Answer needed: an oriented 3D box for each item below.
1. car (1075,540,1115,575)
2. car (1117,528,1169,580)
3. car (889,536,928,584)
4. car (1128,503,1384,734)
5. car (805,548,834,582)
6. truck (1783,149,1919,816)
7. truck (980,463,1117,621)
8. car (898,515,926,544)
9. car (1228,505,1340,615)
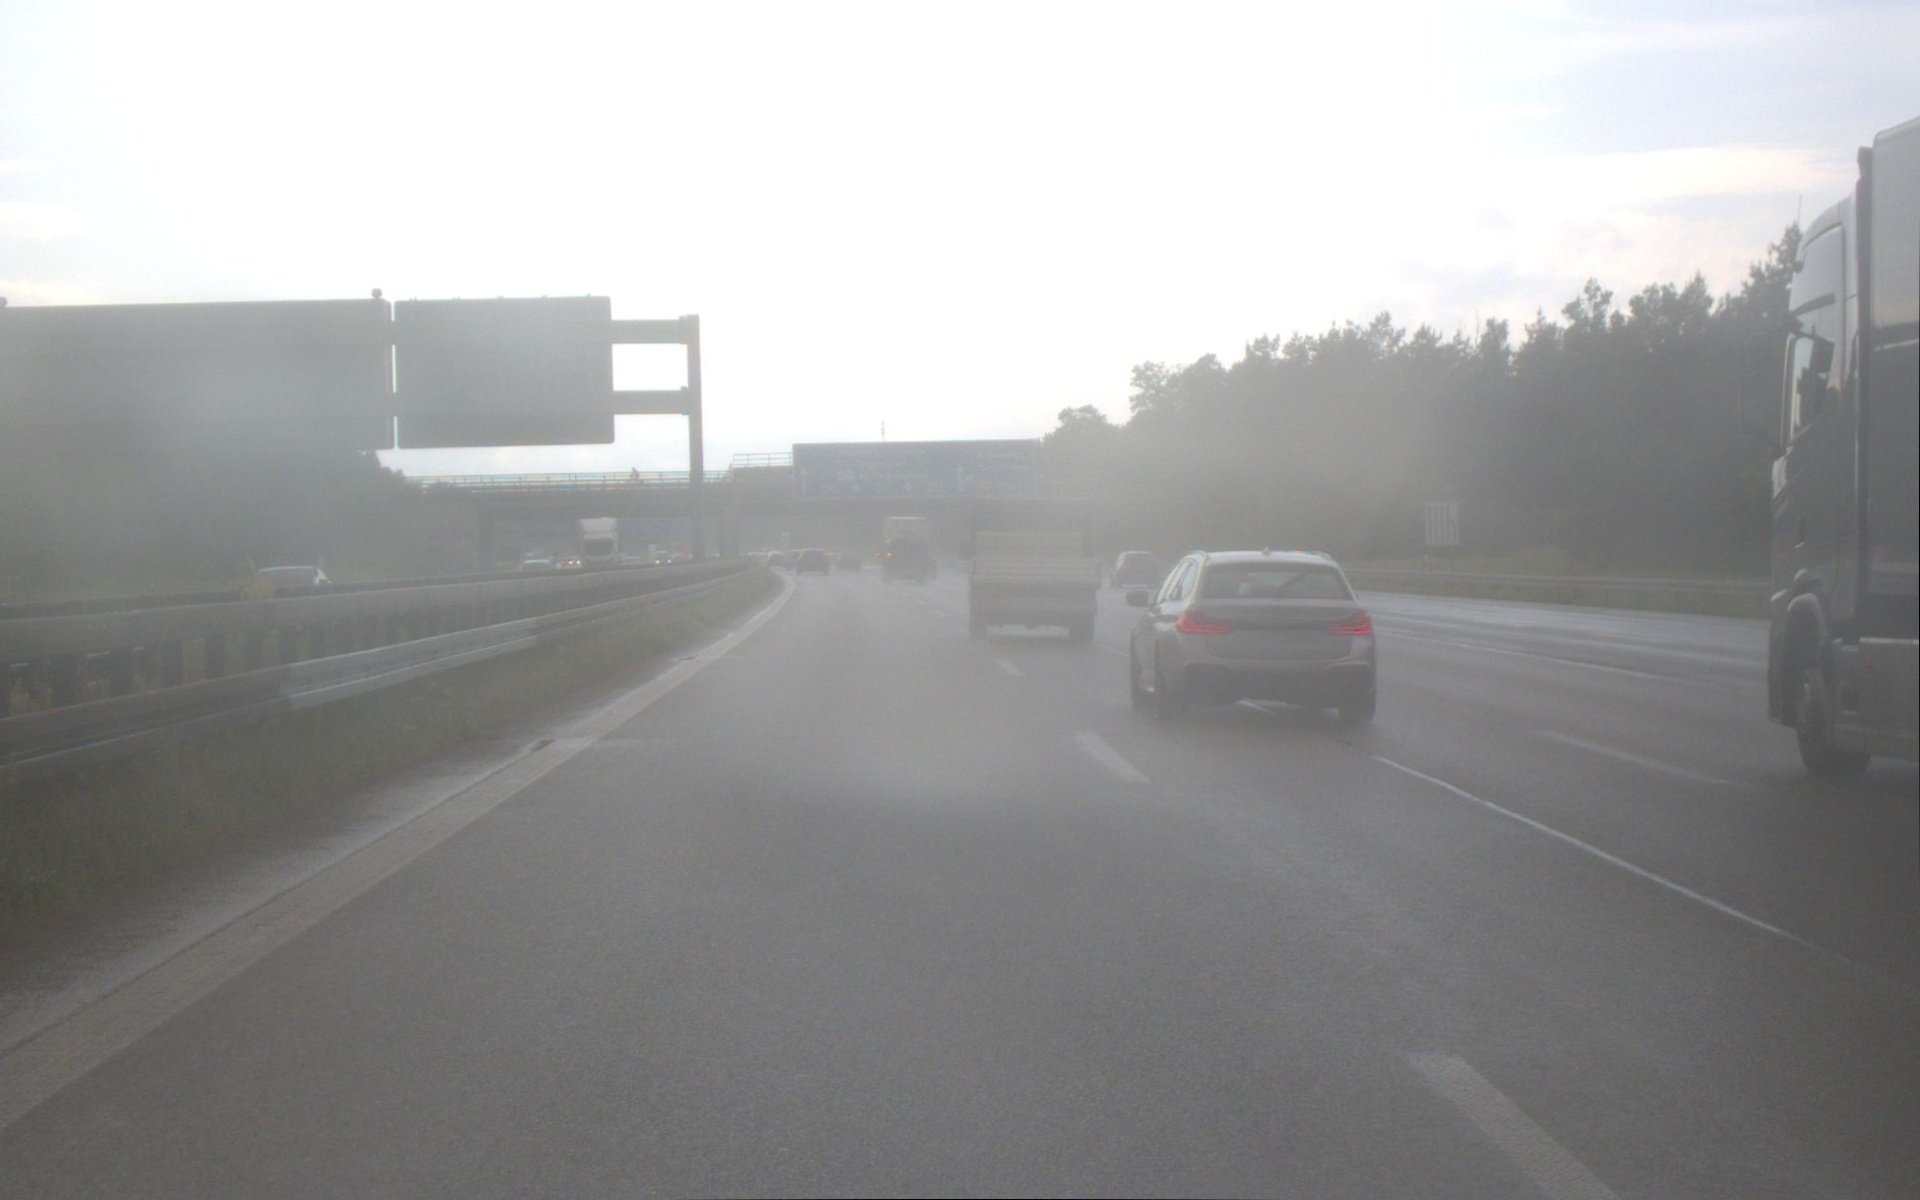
[{"bbox_3d":[6.516,-2.069,166.207,1.741,1.683,4.000,0,1,0],"label":"car"},{"bbox_3d":[7.319,-1.858,137.774,1.994,2.007,4.000,1,1,3],"label":"car"},{"bbox_3d":[-2.253,-1.767,151.151,1.674,2.007,4.000,1,1,-1],"label":"car"},{"bbox_3d":[2.583,0.093,30.659,2.078,1.878,5.011,0,1,4],"label":"car"},{"bbox_3d":[-8.639,-2.146,211.166,1.617,2.007,4.000,1,1,-1],"label":"car"},{"bbox_3d":[6.689,-0.684,20.333,2.293,3.854,5.392,0,1,0],"label":"truck"},{"bbox_3d":[1.489,-0.967,56.815,2.137,2.480,5.312,0,1,2],"label":"truck"},{"bbox_3d":[-3.509,-5.171,252.465,1.993,2.007,4.000,1,1,-1],"label":"car"},{"bbox_3d":[6.078,-0.773,64.845,1.908,2.007,4.000,0,1,3],"label":"car"}]
